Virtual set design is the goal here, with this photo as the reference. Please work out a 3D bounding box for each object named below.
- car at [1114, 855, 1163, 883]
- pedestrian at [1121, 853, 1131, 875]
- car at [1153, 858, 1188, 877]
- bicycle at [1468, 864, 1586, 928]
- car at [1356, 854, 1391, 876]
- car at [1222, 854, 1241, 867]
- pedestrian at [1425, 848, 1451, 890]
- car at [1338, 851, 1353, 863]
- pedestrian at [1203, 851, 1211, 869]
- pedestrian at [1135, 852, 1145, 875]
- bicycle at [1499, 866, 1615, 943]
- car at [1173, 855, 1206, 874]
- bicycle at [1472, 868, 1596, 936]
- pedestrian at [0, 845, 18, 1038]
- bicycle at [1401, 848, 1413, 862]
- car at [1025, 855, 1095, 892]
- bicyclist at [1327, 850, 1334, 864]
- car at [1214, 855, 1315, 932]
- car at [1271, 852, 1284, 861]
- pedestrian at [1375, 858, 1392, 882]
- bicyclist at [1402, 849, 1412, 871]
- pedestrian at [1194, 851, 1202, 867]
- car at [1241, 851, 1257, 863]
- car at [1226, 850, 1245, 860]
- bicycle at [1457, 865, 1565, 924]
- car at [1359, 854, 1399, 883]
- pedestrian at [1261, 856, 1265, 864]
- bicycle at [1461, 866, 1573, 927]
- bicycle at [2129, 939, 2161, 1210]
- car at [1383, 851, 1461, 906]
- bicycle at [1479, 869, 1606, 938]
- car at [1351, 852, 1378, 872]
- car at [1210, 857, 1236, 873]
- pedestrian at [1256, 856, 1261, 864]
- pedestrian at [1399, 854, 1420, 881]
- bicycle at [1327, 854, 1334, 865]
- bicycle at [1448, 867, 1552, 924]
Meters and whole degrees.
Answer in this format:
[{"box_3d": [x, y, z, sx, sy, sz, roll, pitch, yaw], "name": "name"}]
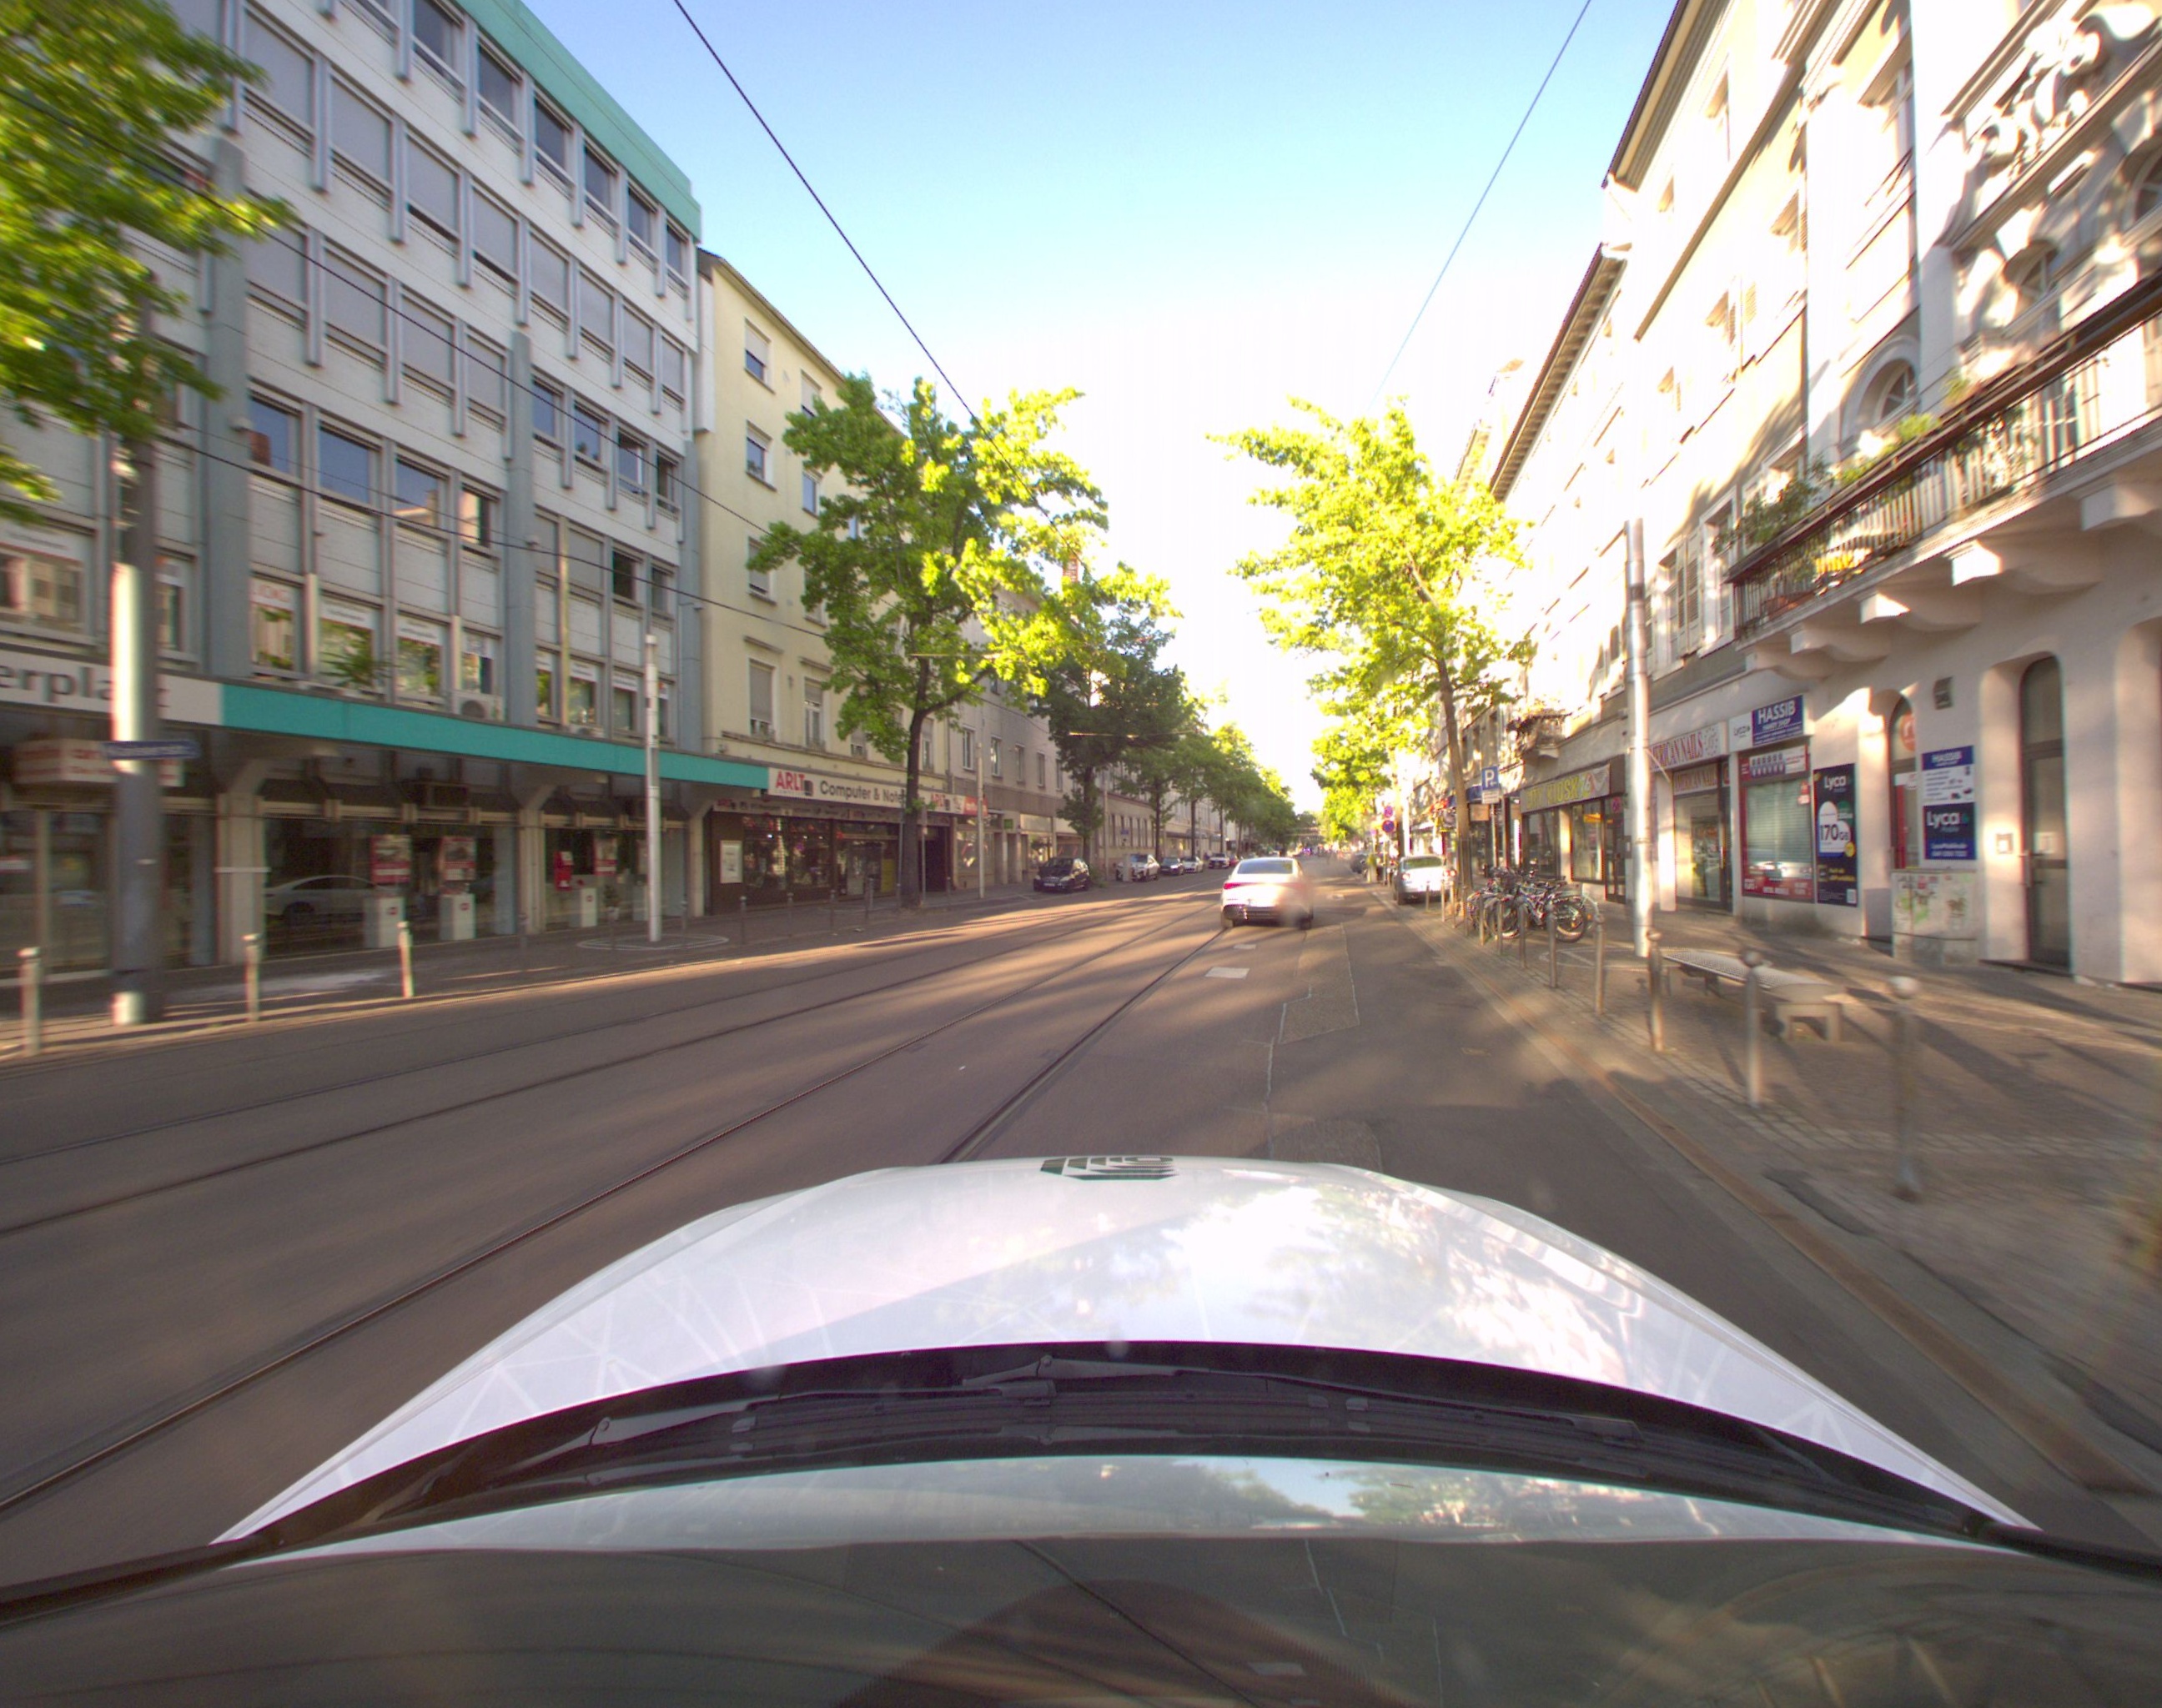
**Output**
[{"box_3d": [3.692, 0.917, 51.544, 1.946, 1.640, 4.834, 2, 0, 17], "name": "car"}, {"box_3d": [3.484, 0.787, 62.998, 0.669, 1.680, 0.650, -1, -1, 16], "name": "pedestrian"}, {"box_3d": [6.901, 1.028, 62.456, 1.948, 1.412, 4.865, -1, -1, 14], "name": "car"}, {"box_3d": [8.310, 0.775, 15.257, 1.851, 1.154, 0.565, -1, -1, 18], "name": "bicycle"}, {"box_3d": [20.671, 0.782, 57.710, 1.802, 1.486, 4.013, -1, -1, 12], "name": "car"}, {"box_3d": [17.944, 0.752, 97.195, 1.675, 1.499, 4.253, -1, -1, 18], "name": "car"}, {"box_3d": [14.332, 0.605, 32.701, 0.796, 1.643, 0.759, -2, -1, 17], "name": "pedestrian"}, {"box_3d": [38.280, 0.443, 117.916, 1.978, 1.728, 4.260, -1, 0, 17], "name": "car"}, {"box_3d": [14.212, 0.717, 91.937, 0.702, 2.004, 0.678, -1, -1, 15], "name": "pedestrian"}, {"box_3d": [4.537, 0.726, 62.528, 0.681, 1.721, 0.659, 0, -1, 17], "name": "pedestrian"}, {"box_3d": [7.644, 0.777, 13.175, 0.462, 1.154, 1.669, 0, -1, -23], "name": "bicycle"}, {"box_3d": [9.377, 0.882, 70.056, 1.931, 1.640, 4.932, 0, 0, 18], "name": "car"}, {"box_3d": [8.072, 0.841, 14.580, 1.851, 1.154, 0.565, -1, -1, 18], "name": "bicycle"}, {"box_3d": [-11.762, 0.915, 8.386, 0.790, 2.014, 0.737, -1, -1, 18], "name": "pedestrian"}, {"box_3d": [26.096, 0.082, 65.151, 0.643, 1.074, 1.869, -2, -1, 15], "name": "bicycle"}, {"box_3d": [-0.896, 0.872, 37.614, 1.946, 1.640, 4.018, -1, -1, 18], "name": "car"}, {"box_3d": [29.459, 0.375, 96.163, 0.719, 1.703, 0.815, -1, -1, 17], "name": "bicyclist"}, {"box_3d": [4.117, 0.789, 17.798, 1.853, 1.469, 4.060, -2, -1, 16], "name": "car"}, {"box_3d": [42.921, 0.555, 178.227, 1.975, 2.014, 4.023, -1, 0, 25], "name": "car"}, {"box_3d": [16.096, 0.861, 43.351, 0.810, 1.265, 0.589, -1, -1, 22], "name": "pedestrian"}, {"box_3d": [26.154, 0.472, 65.307, 0.634, 1.684, 0.602, -2, -1, 15], "name": "bicyclist"}, {"box_3d": [13.255, 0.586, 92.349, 0.702, 1.806, 0.678, -1, -1, 17], "name": "pedestrian"}, {"box_3d": [24.321, 0.416, 118.061, 1.538, 1.796, 3.185, -1, 0, 25], "name": "car"}, {"box_3d": [19.935, 0.099, 104.981, 1.978, 1.292, 4.018, -1, 0, 17], "name": "car"}, {"box_3d": [8.667, 0.799, 16.499, 1.851, 1.154, 0.565, -1, -1, 18], "name": "bicycle"}, {"box_3d": [17.844, 0.856, 48.913, 1.788, 1.457, 3.669, 8, 2, 15], "name": "car"}, {"box_3d": [33.089, 1.098, 148.011, 0.517, 1.478, 0.648, -3, -2, -10], "name": "pedestrian"}, {"box_3d": [8.471, 0.816, 15.893, 1.851, 1.154, 0.565, -1, -1, 18], "name": "bicycle"}, {"box_3d": [4.314, 0.877, 2.496, 0.351, 1.076, 1.705, -1, -1, 14], "name": "bicycle"}, {"box_3d": [10.457, 0.724, 25.260, 1.762, 1.440, 4.442, -4, -2, 17], "name": "car"}, {"box_3d": [7.942, 0.845, 14.076, 1.851, 1.154, 0.349, -1, -1, 18], "name": "bicycle"}, {"box_3d": [22.721, 0.632, 65.339, 1.856, 1.453, 4.126, -3, -1, 19], "name": "car"}, {"box_3d": [15.348, 1.197, 87.840, 1.946, 1.692, 5.036, -1, -1, 18], "name": "car"}, {"box_3d": [32.020, 1.086, 146.870, 0.563, 1.464, 0.654, -1, -1, 36], "name": "pedestrian"}, {"box_3d": [17.290, 0.703, 42.907, 0.710, 1.387, 0.742, -1, -1, -21], "name": "pedestrian"}, {"box_3d": [29.412, 0.655, 96.033, 0.734, 1.188, 2.170, -2, -1, 18], "name": "bicycle"}, {"box_3d": [8.762, 0.861, 17.102, 1.851, 1.154, 0.565, -1, -1, 18], "name": "bicycle"}]
